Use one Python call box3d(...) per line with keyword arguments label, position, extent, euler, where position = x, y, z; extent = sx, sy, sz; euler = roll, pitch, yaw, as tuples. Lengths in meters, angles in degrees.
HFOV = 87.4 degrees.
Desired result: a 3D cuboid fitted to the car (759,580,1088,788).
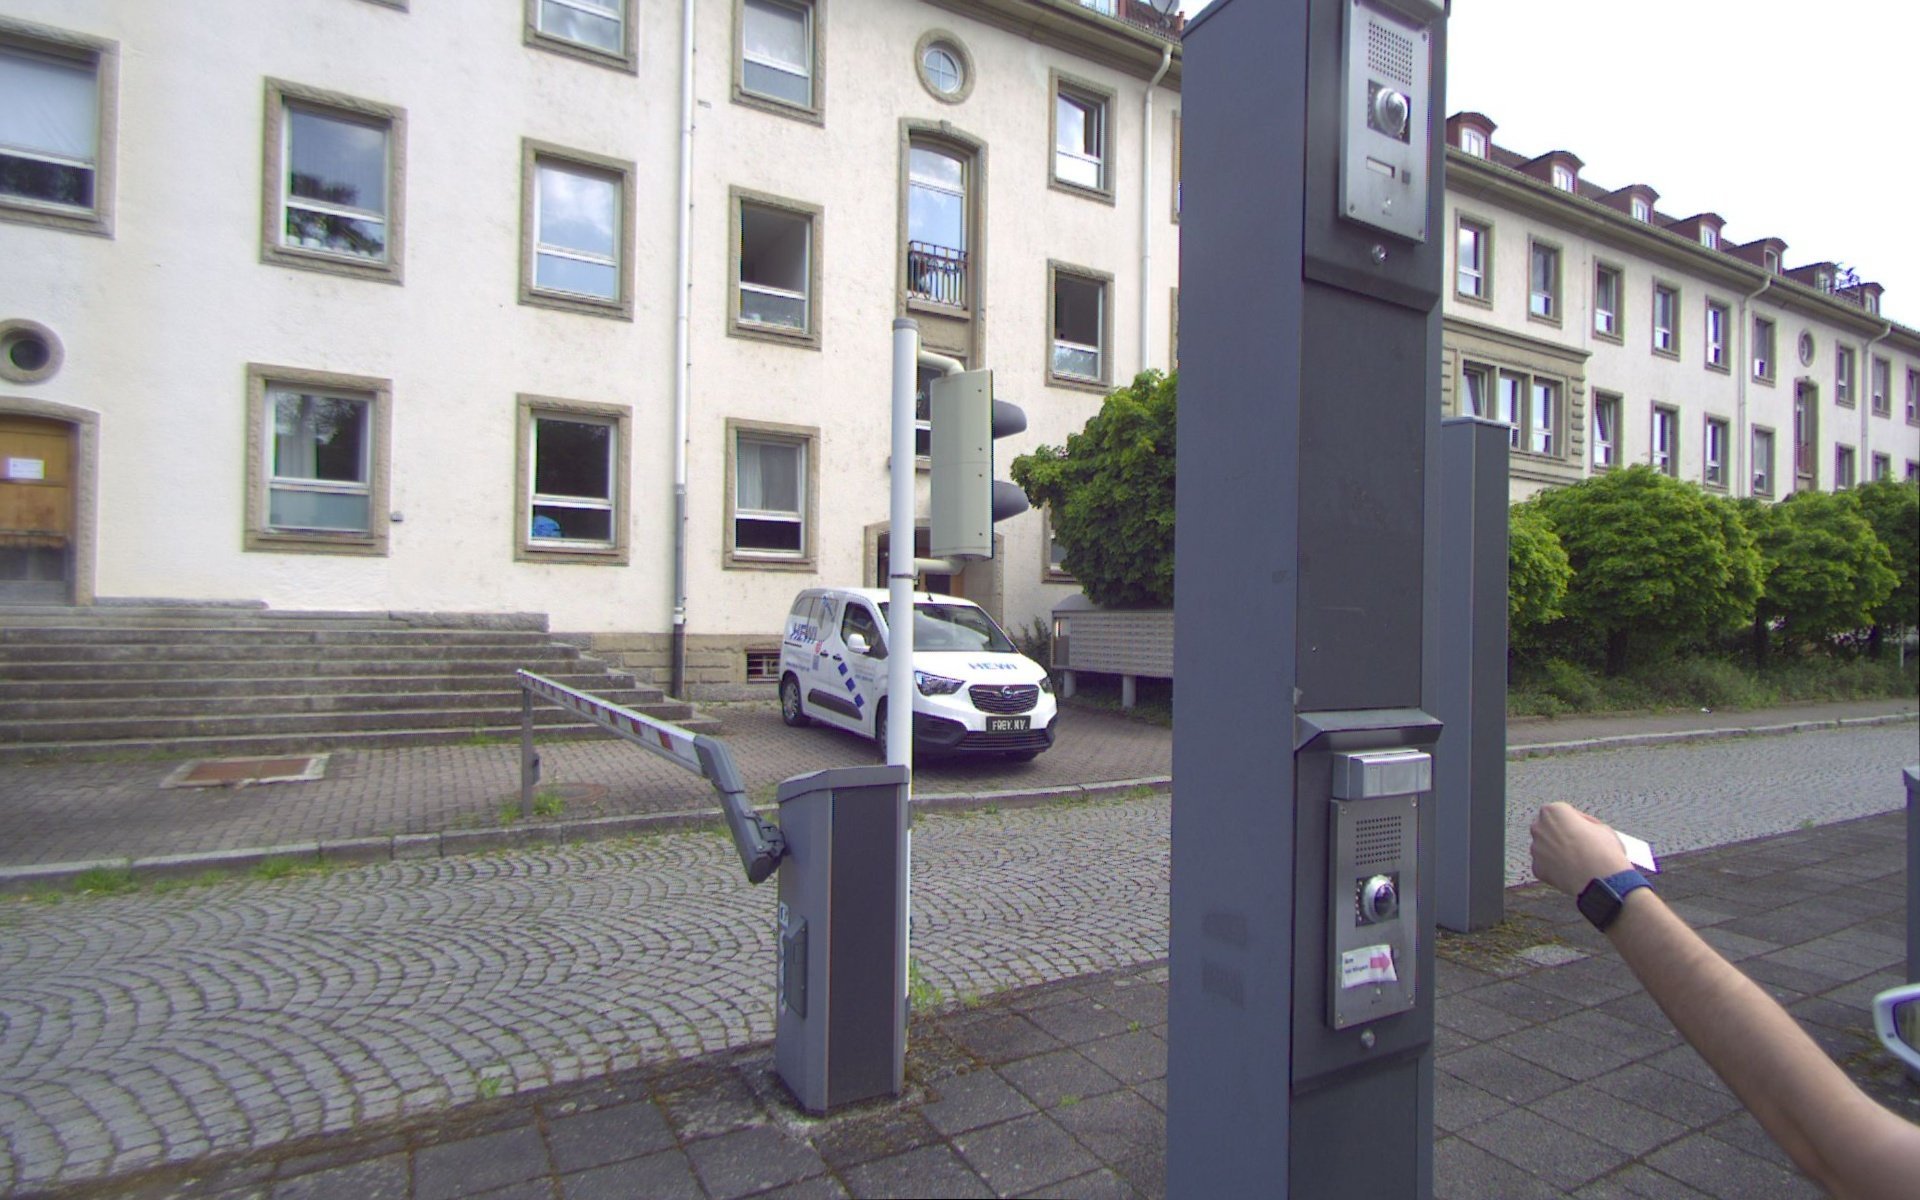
box3d(label="car", position=(-0.651, 0.757, 11.684), extent=(1.838, 1.775, 4.411), euler=(1, 3, -32))
